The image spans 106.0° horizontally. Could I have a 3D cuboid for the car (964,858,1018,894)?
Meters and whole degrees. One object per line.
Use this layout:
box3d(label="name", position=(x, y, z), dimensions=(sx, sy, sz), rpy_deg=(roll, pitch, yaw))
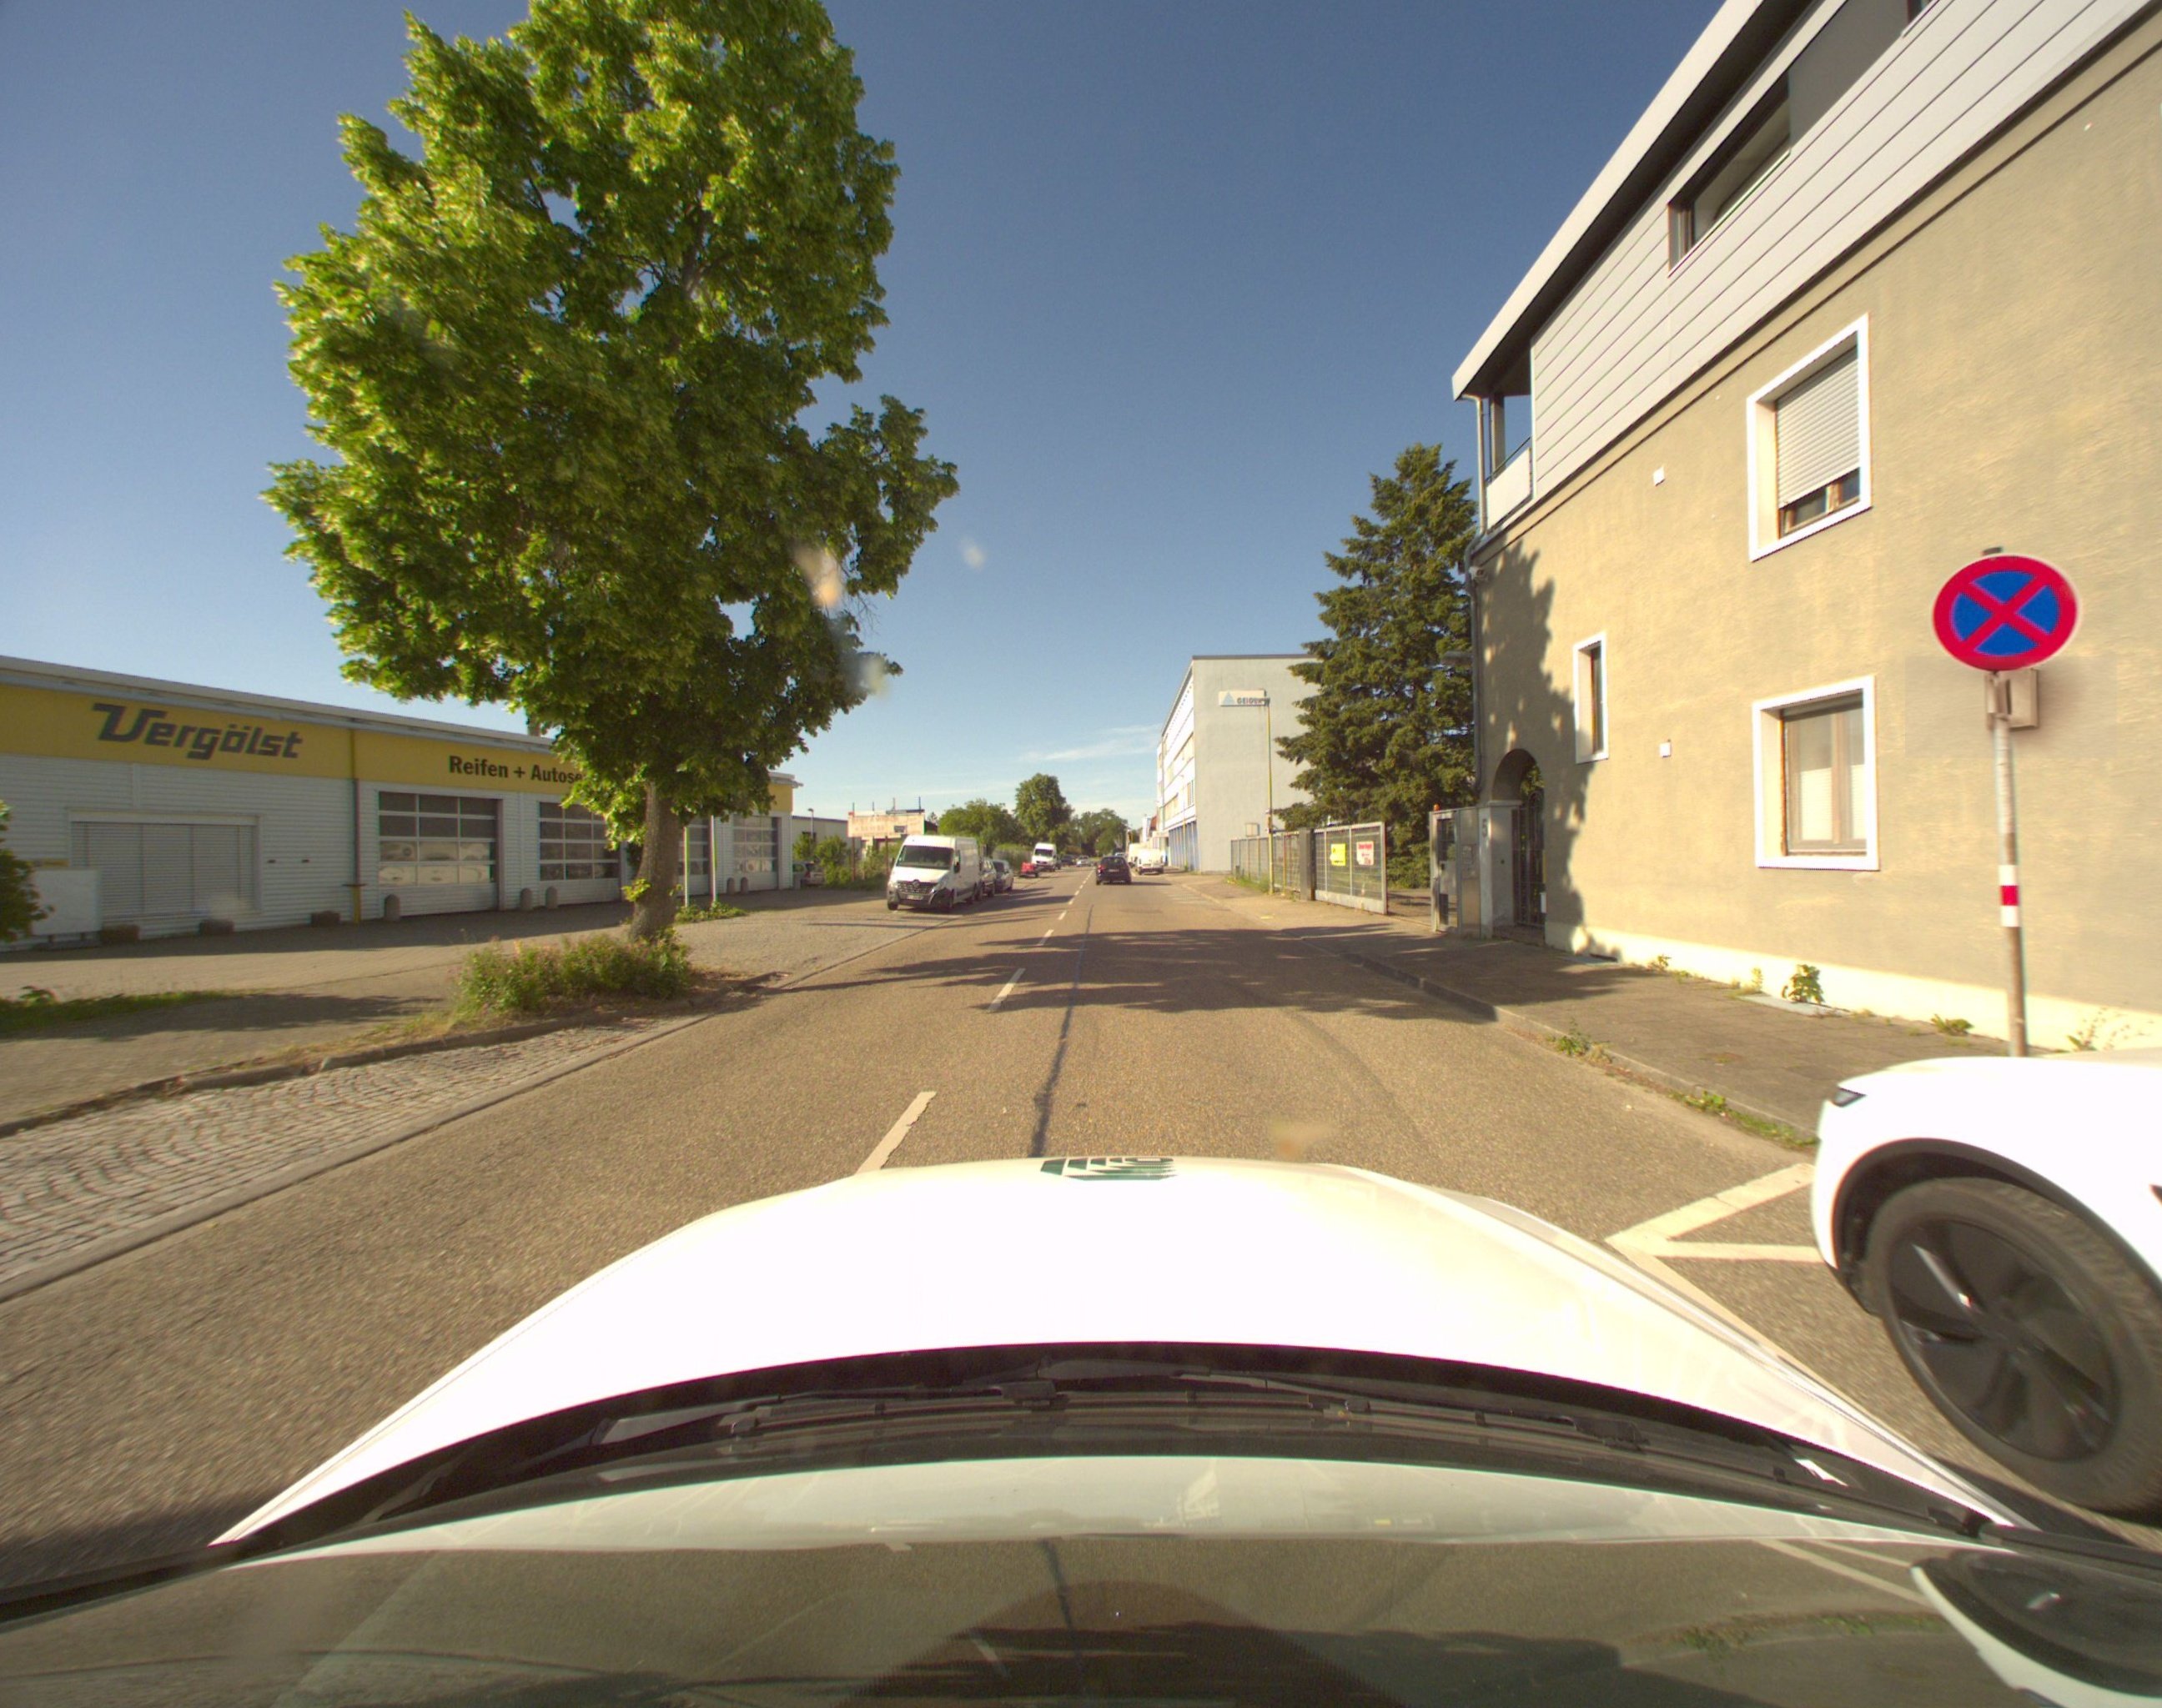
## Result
box3d(label="car", position=(-4.228, 1.006, 38.904), dimensions=(1.793, 1.510, 5.004), rpy_deg=(2, 0, 2))

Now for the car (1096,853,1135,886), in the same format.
box3d(label="car", position=(1.756, 0.766, 41.584), dimensions=(1.840, 1.530, 4.002), rpy_deg=(-2, 0, 2))

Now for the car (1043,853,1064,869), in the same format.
box3d(label="car", position=(-3.039, 0.771, 90.118), dimensions=(2.024, 1.694, 5.106), rpy_deg=(3, 0, 0))

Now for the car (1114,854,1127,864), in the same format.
box3d(label="car", position=(6.839, 0.908, 141.315), dimensions=(1.879, 1.798, 5.103), rpy_deg=(0, -1, 0))

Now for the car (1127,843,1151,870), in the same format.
box3d(label="car", position=(6.012, 0.235, 85.332), dimensions=(1.987, 2.597, 6.050), rpy_deg=(-3, 1, 0))

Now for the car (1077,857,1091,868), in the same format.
box3d(label="car", position=(0.452, 1.148, 107.929), dimensions=(1.740, 1.447, 4.361), rpy_deg=(-1, 0, 1))

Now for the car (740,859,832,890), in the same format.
box3d(label="car", position=(-15.673, 1.073, 43.342), dimensions=(4.131, 1.574, 1.922), rpy_deg=(-1, 0, 11))

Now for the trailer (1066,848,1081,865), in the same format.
box3d(label="trailer", position=(-1.513, 0.496, 170.435), dimensions=(2.982, 3.443, 8.160), rpy_deg=(-1, -1, 0))

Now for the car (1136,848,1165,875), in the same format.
box3d(label="car", position=(5.032, 0.544, 59.561), dimensions=(1.881, 1.832, 5.094), rpy_deg=(-1, 0, 3))

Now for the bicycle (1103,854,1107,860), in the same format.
box3d(label="bicycle", position=(6.091, 0.774, 208.716), dimensions=(0.801, 1.268, 2.257), rpy_deg=(0, -1, -1))

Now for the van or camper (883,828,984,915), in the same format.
box3d(label="van or camper", position=(-4.874, 0.526, 28.079), dimensions=(2.063, 2.549, 6.405), rpy_deg=(3, 0, 1))

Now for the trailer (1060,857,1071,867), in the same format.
box3d(label="trailer", position=(-2.119, 1.109, 111.339), dimensions=(1.471, 1.354, 3.079), rpy_deg=(0, 0, 1))

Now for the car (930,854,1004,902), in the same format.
box3d(label="car", position=(-4.609, 0.923, 33.627), dimensions=(1.984, 1.738, 4.580), rpy_deg=(2, 0, 4))

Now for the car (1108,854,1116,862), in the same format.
box3d(label="car", position=(7.887, 1.150, 207.834), dimensions=(1.867, 2.014, 5.162), rpy_deg=(0, -1, 2))

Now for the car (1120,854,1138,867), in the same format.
box3d(label="car", position=(5.670, 0.798, 96.967), dimensions=(1.888, 1.405, 5.124), rpy_deg=(0, -1, 1))

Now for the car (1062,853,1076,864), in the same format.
box3d(label="car", position=(-1.907, 0.684, 129.751), dimensions=(1.784, 1.731, 4.806), rpy_deg=(-2, 0, 3))

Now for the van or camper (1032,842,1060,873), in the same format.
box3d(label="van or camper", position=(-3.262, 0.350, 76.861), dimensions=(1.958, 2.685, 5.952), rpy_deg=(4, 0, 3))

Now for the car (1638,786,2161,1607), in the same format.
box3d(label="car", position=(3.107, 0.658, 0.731), dimensions=(1.925, 1.644, 4.769), rpy_deg=(-2, 0, 0))

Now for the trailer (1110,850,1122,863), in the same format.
box3d(label="trailer", position=(7.551, 0.550, 177.786), dimensions=(2.451, 2.673, 5.702), rpy_deg=(-1, -1, 1))

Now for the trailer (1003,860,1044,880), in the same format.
box3d(label="trailer", position=(-4.036, 1.114, 58.226), dimensions=(2.367, 1.080, 6.247), rpy_deg=(2, 1, 1))
